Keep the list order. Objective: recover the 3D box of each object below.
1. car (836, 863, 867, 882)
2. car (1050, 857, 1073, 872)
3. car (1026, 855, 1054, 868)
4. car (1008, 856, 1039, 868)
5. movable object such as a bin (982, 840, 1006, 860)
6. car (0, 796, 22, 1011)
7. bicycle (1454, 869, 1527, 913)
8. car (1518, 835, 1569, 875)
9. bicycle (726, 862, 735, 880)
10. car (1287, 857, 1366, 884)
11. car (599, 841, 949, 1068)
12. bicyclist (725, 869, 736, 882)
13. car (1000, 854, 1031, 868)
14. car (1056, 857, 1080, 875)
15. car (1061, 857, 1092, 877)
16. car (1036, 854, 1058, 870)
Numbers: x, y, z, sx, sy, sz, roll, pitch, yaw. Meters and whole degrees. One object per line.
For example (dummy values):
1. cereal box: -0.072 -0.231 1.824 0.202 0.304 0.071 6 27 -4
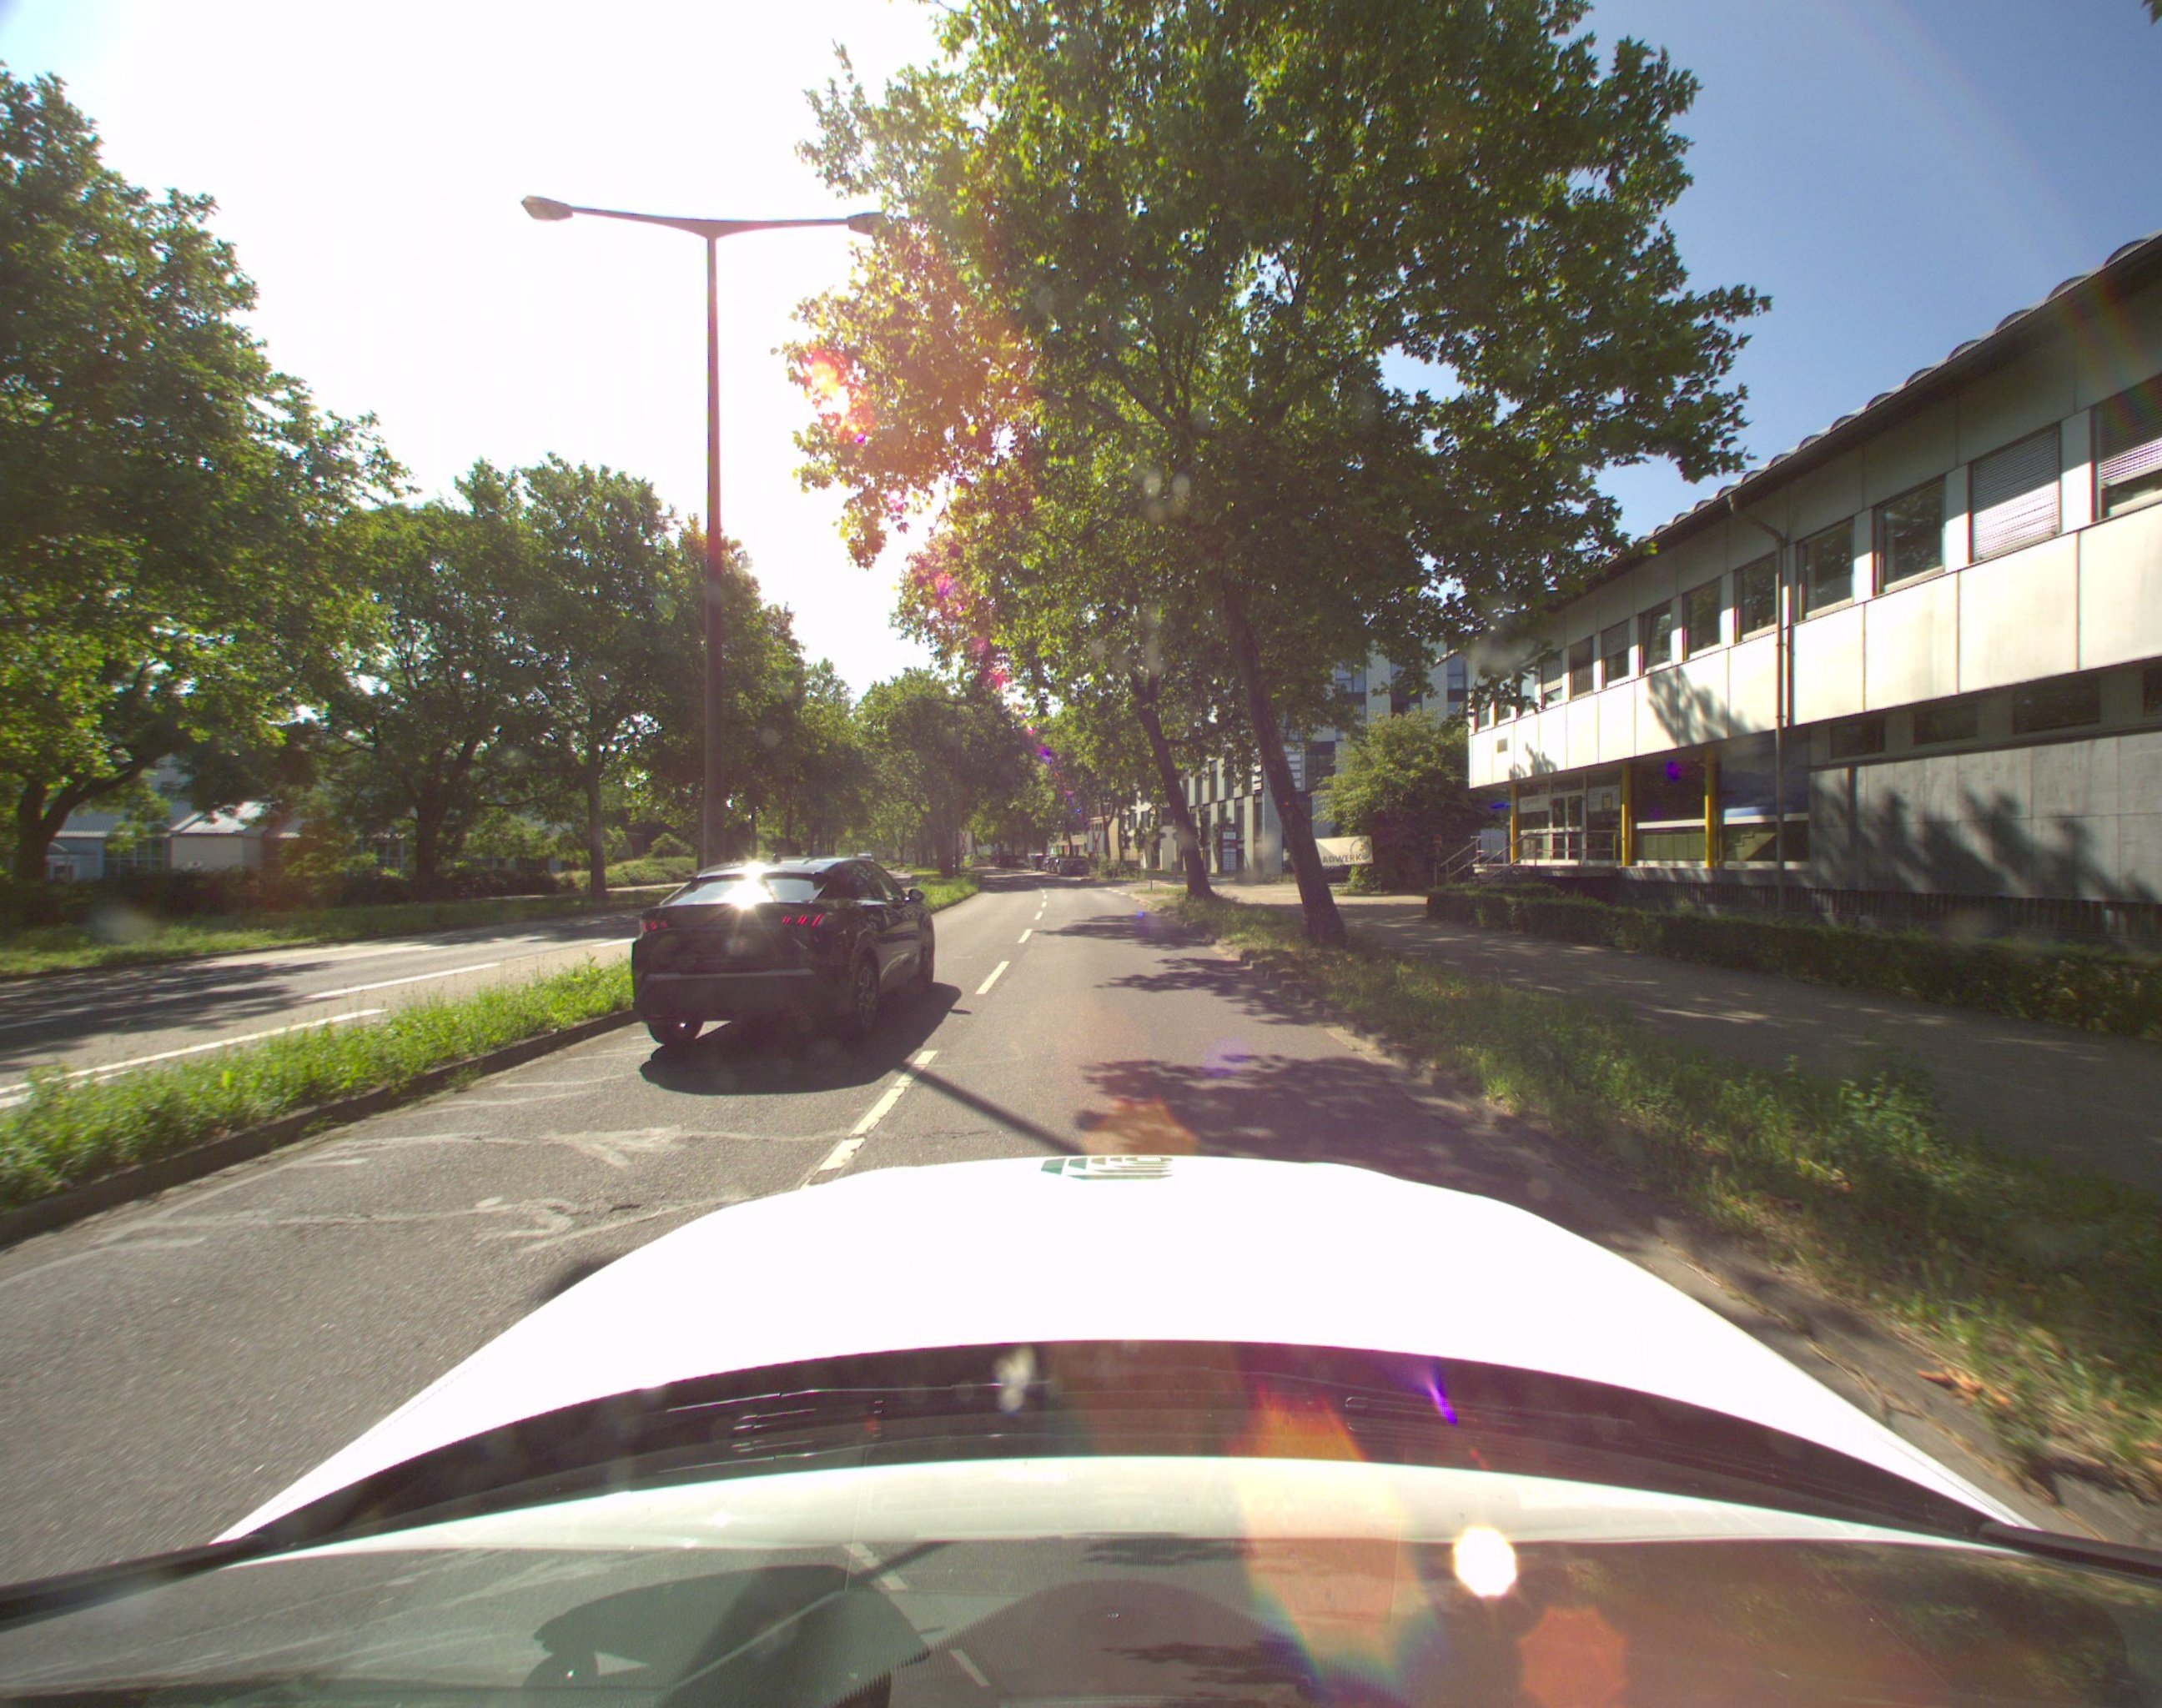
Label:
1. car: -19.833 1.578 70.443 1.792 1.556 4.387 -2 0 -6
2. car: -1.972 1.013 80.303 1.705 1.455 4.643 -1 0 -8
3. car: -5.643 1.024 112.357 3.559 1.640 1.650 -1 0 -16
4. car: -8.319 1.139 117.203 4.124 1.633 1.696 -1 0 -29
5. movable object such as a bin: -13.941 -0.637 130.136 2.347 3.241 3.392 -1 0 -38
6. car: -14.250 0.624 6.463 2.053 2.613 7.220 -2 0 2
7. bicycle: 11.097 0.995 22.096 1.660 1.130 0.510 -2 -1 10
8. car: 20.735 0.040 36.463 1.659 1.662 3.772 -3 -1 33
9. bicycle: -27.956 1.373 64.977 0.428 1.385 0.952 -1 0 -8
10. car: 14.388 0.954 47.886 4.223 1.517 2.005 0 0 8
11. car: -2.731 0.785 8.506 1.866 1.696 4.436 -2 0 1
12. bicyclist: -27.965 1.692 65.038 0.428 1.013 1.421 -1 0 -8
13. car: -9.476 0.973 118.711 4.126 1.880 1.768 -1 0 -30
14. car: -1.240 1.096 75.267 1.705 1.487 4.090 -1 0 -8
15. car: -0.448 1.072 69.481 1.708 1.487 4.700 -2 1 -12
16. car: -3.934 0.875 92.925 1.708 1.669 4.514 -1 0 -13
